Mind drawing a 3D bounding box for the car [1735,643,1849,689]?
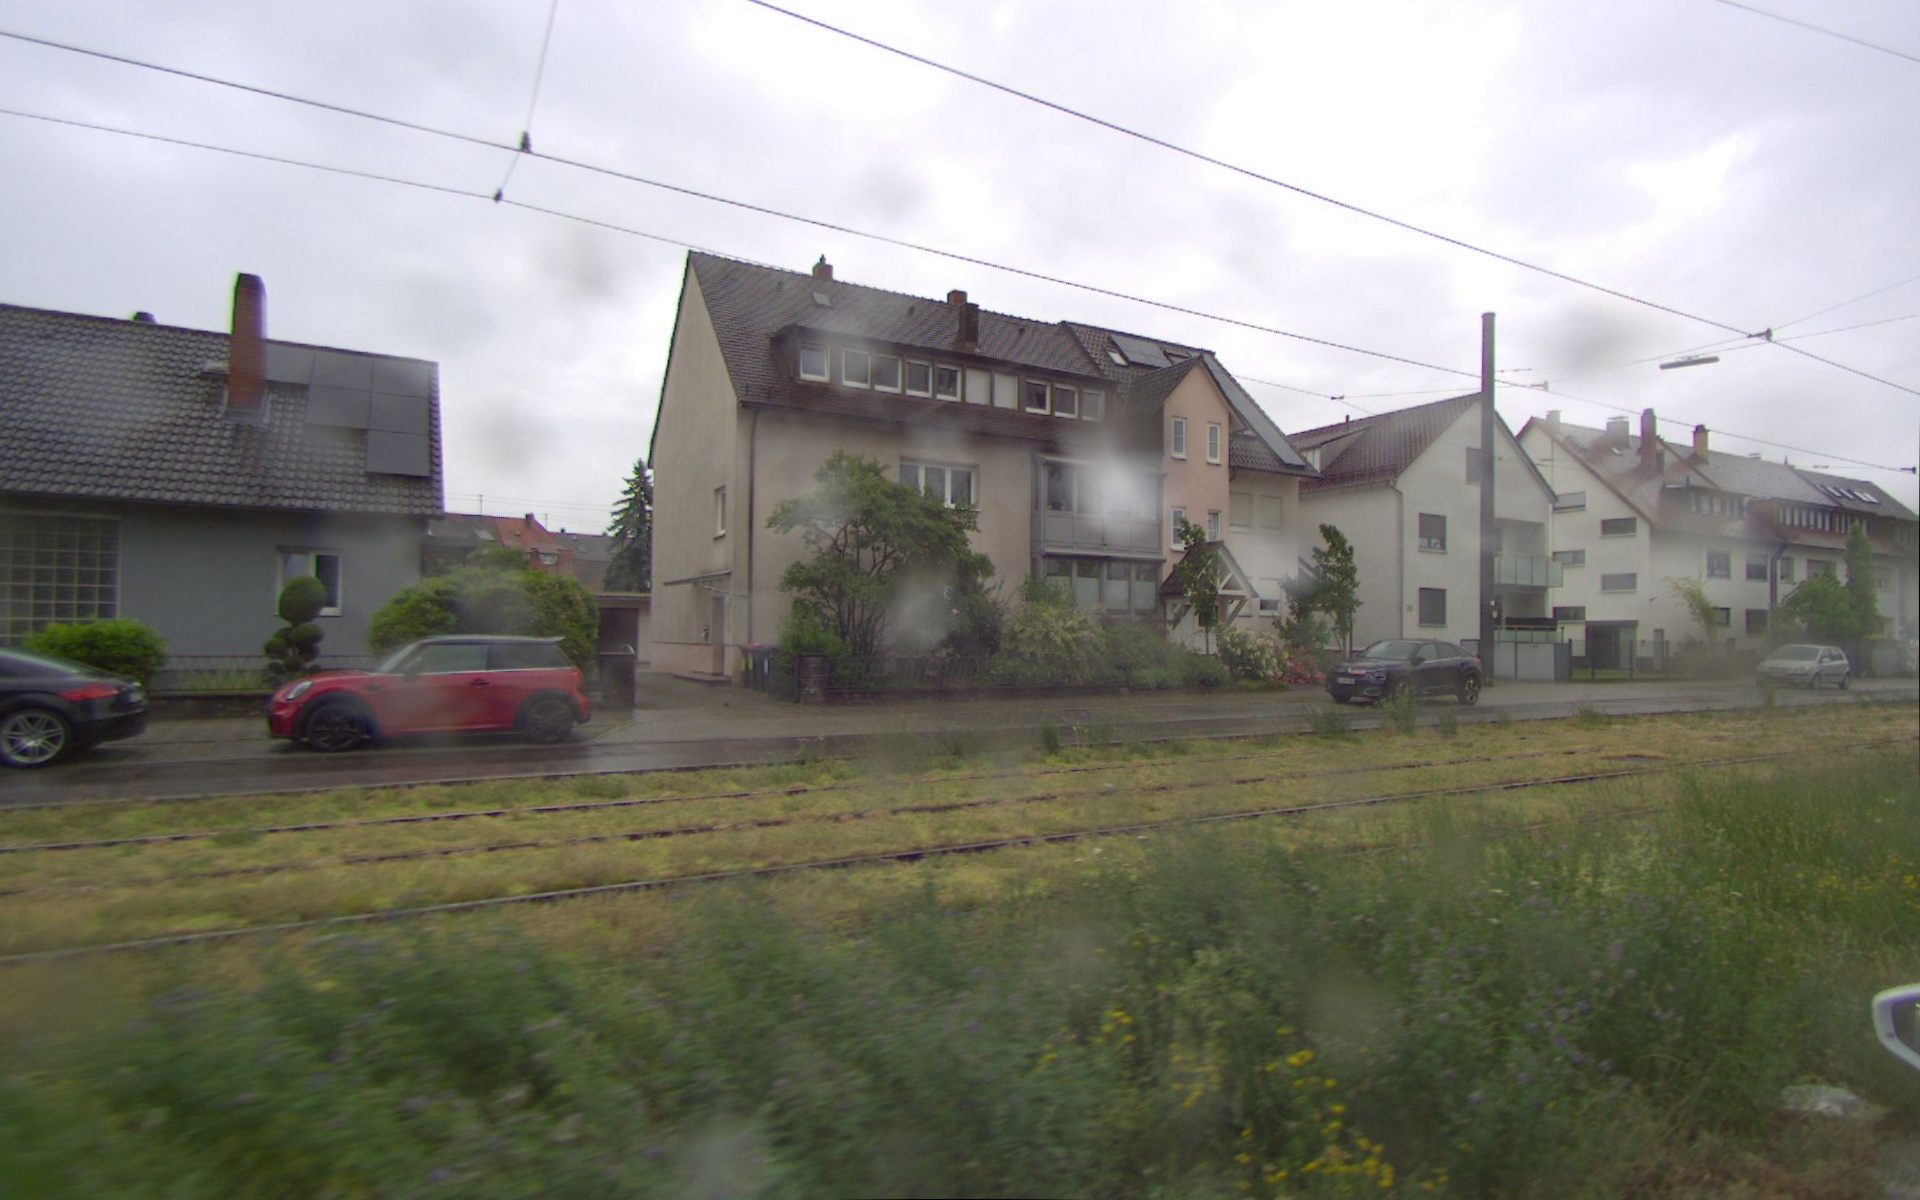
[{"bbox_3d":[28.982,2.297,34.994,3.616,1.432,1.984,3,-2,-31],"label":"car"}]

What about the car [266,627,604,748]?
[{"bbox_3d":[-7.064,1.150,13.740,3.800,1.391,1.984,3,-2,-31],"label":"car"}]

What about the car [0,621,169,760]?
[{"bbox_3d":[-11.419,0.964,10.961,4.126,1.428,1.984,1,0,-31],"label":"car"}]

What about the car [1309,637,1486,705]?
[{"bbox_3d":[10.465,1.694,23.967,4.127,1.445,1.827,3,-2,-31],"label":"car"}]
